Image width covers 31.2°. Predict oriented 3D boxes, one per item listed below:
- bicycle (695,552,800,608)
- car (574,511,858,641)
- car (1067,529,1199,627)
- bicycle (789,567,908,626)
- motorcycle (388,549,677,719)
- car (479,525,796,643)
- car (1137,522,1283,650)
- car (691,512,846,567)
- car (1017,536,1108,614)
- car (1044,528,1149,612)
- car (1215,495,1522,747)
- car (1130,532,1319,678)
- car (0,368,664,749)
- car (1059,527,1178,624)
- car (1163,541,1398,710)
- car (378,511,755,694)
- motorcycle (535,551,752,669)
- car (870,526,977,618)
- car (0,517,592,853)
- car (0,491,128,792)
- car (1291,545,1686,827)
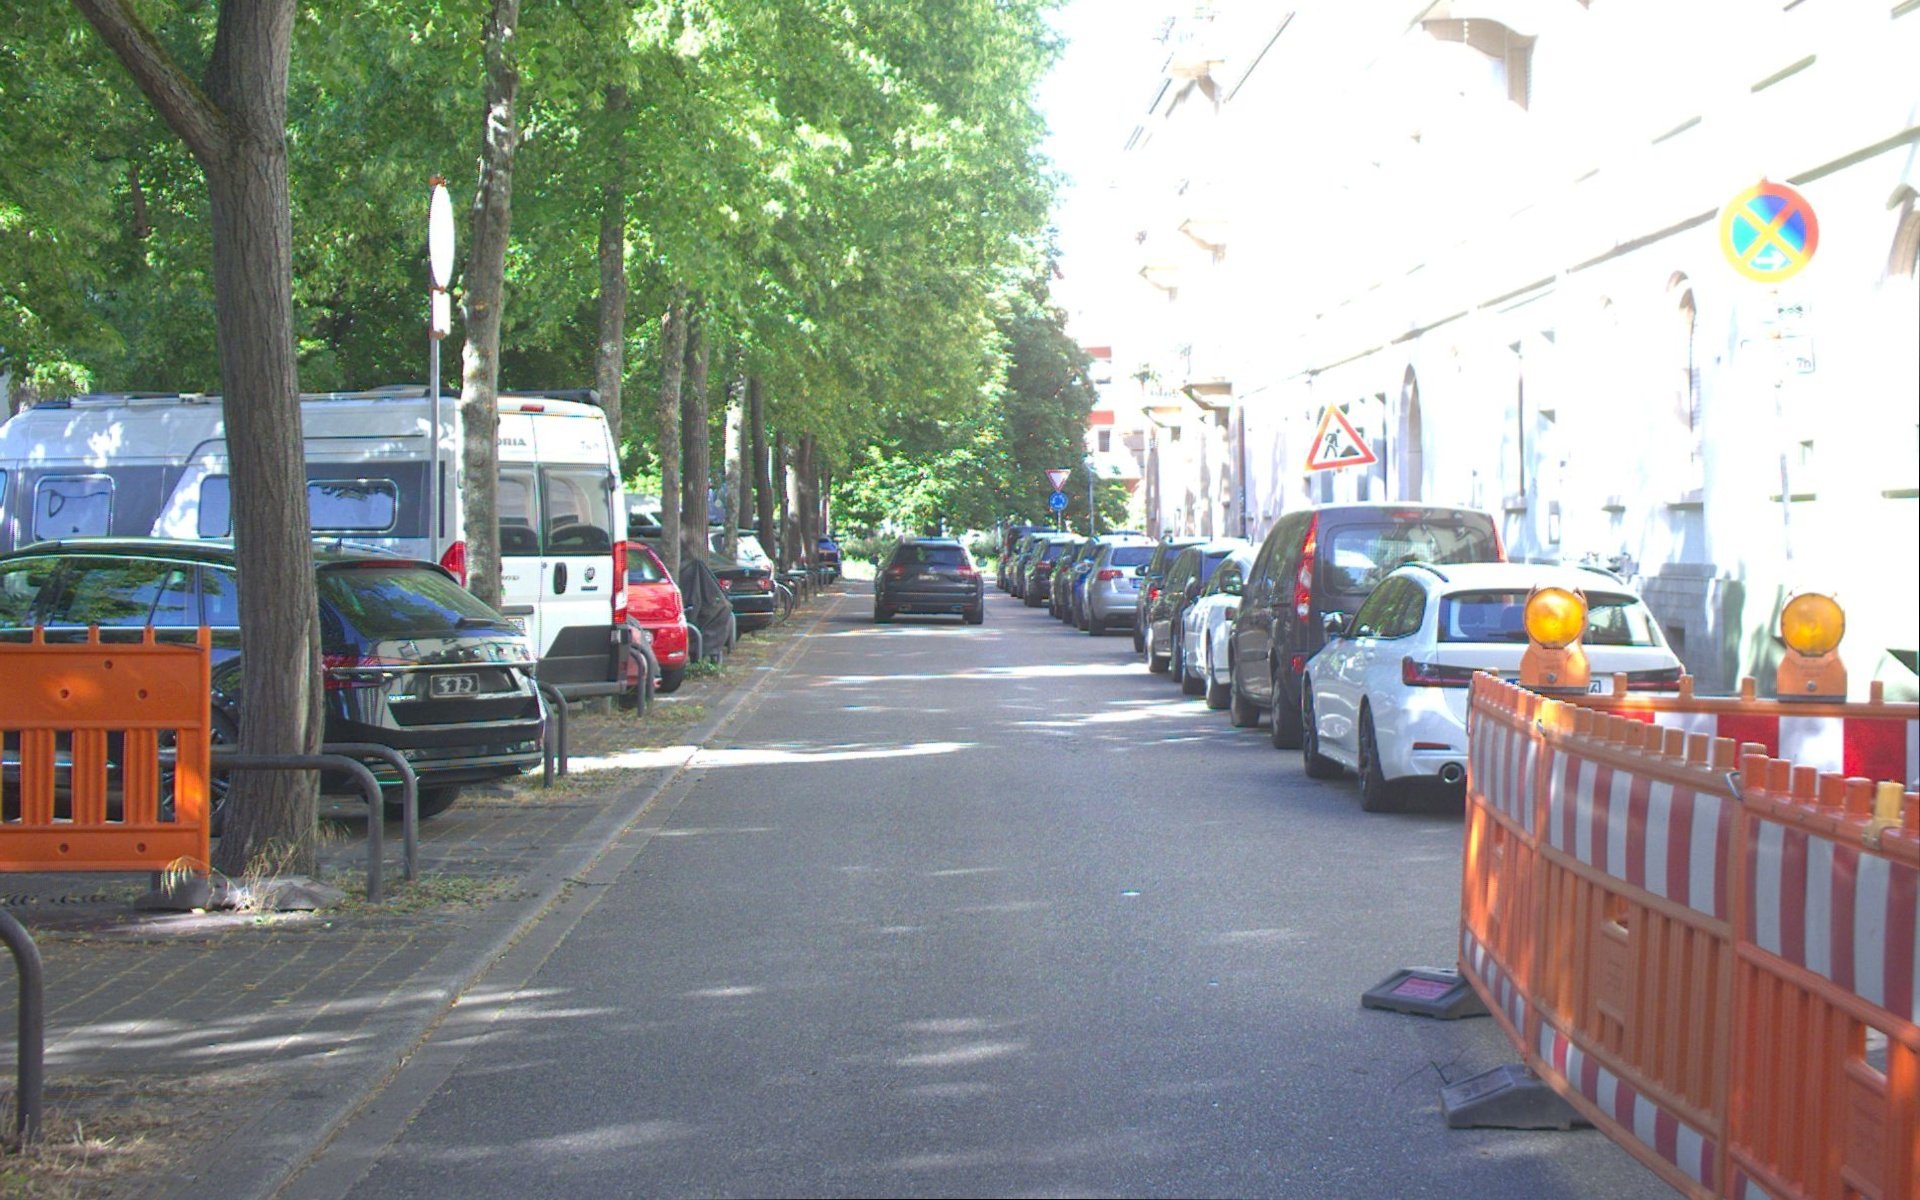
[{"bbox_3d":[-3.783,-0.353,61.236,1.812,0.990,0.425,0,1,15],"label":"bicycle"},{"bbox_3d":[-5.728,-0.543,81.027,6.069,2.614,2.453,-4,-1,15],"label":"car"},{"bbox_3d":[2.635,-0.374,53.191,1.769,1.426,4.291,-1,1,-1],"label":"car"},{"bbox_3d":[-1.806,-0.058,55.585,1.900,0.916,0.379,1,1,19],"label":"bicycle"},{"bbox_3d":[-3.582,0.267,28.719,2.318,1.330,0.969,-2,1,-10],"label":"motorcycle"},{"bbox_3d":[-4.263,-0.203,45.253,4.015,1.469,1.623,-1,1,35],"label":"car"},{"bbox_3d":[3.121,-0.211,43.516,1.580,1.545,4.042,0,1,0],"label":"car"},{"bbox_3d":[-5.372,-1.678,96.240,4.087,1.461,1.867,1,0,-11],"label":"car"},{"bbox_3d":[2.153,-0.561,73.145,1.805,1.558,4.321,-1,1,1],"label":"car"},{"bbox_3d":[2.454,-0.570,62.788,1.692,1.463,4.005,1,1,-1],"label":"car"},{"bbox_3d":[3.090,0.111,26.738,1.771,1.787,3.990,-1,1,-2],"label":"car"},{"bbox_3d":[2.846,0.013,37.677,1.599,1.487,3.967,-1,1,-2],"label":"car"},{"bbox_3d":[-5.460,-0.325,25.690,6.319,2.550,2.334,1,1,32],"label":"car"},{"bbox_3d":[2.644,-0.444,58.145,1.767,1.546,4.184,-1,1,-1],"label":"car"},{"bbox_3d":[2.909,0.182,32.035,1.607,1.415,4.569,-1,1,-2],"label":"car"},{"bbox_3d":[-3.802,0.008,32.799,1.659,1.612,3.879,-2,2,-40],"label":"car"},{"bbox_3d":[-3.344,0.097,36.446,2.148,1.225,0.881,0,1,8],"label":"motorcycle"},{"bbox_3d":[-0.602,-0.511,58.984,1.714,1.478,4.145,-1,1,1],"label":"car"},{"bbox_3d":[-4.158,0.475,18.157,4.093,1.520,1.699,-3,1,29],"label":"car"},{"bbox_3d":[-7.740,0.256,23.253,4.381,1.908,1.995,0,1,43],"label":"car"},{"bbox_3d":[3.117,0.442,21.078,1.704,1.506,4.284,-1,1,-1],"label":"car"}]
